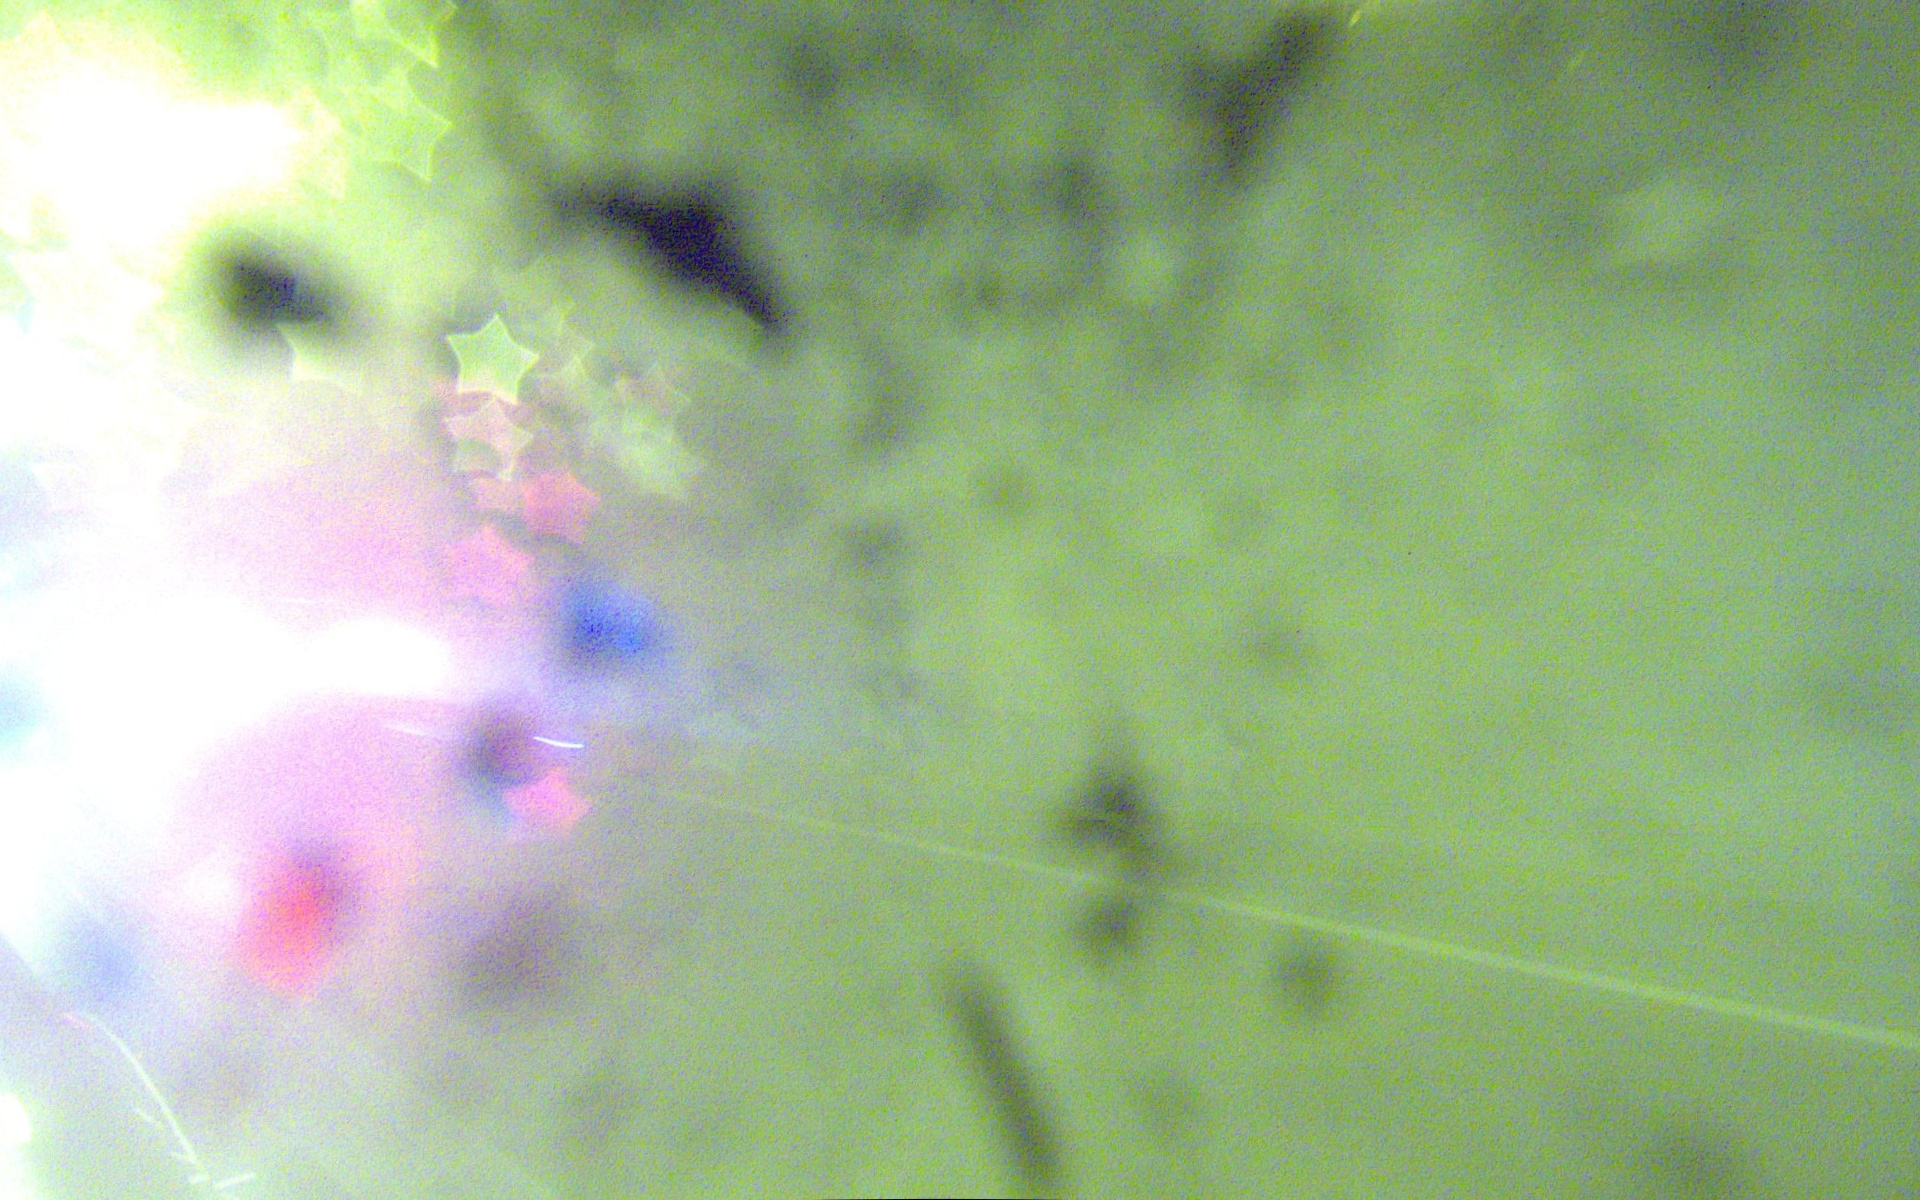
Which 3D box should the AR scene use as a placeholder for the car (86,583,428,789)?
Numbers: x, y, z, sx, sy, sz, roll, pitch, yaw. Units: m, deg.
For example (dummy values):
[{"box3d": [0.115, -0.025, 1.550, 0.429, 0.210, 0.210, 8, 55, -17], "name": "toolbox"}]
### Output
[{"box3d": [-7.494, 0.747, 10.627, 4.278, 1.722, 1.973, -1, -1, 41], "name": "car"}]
